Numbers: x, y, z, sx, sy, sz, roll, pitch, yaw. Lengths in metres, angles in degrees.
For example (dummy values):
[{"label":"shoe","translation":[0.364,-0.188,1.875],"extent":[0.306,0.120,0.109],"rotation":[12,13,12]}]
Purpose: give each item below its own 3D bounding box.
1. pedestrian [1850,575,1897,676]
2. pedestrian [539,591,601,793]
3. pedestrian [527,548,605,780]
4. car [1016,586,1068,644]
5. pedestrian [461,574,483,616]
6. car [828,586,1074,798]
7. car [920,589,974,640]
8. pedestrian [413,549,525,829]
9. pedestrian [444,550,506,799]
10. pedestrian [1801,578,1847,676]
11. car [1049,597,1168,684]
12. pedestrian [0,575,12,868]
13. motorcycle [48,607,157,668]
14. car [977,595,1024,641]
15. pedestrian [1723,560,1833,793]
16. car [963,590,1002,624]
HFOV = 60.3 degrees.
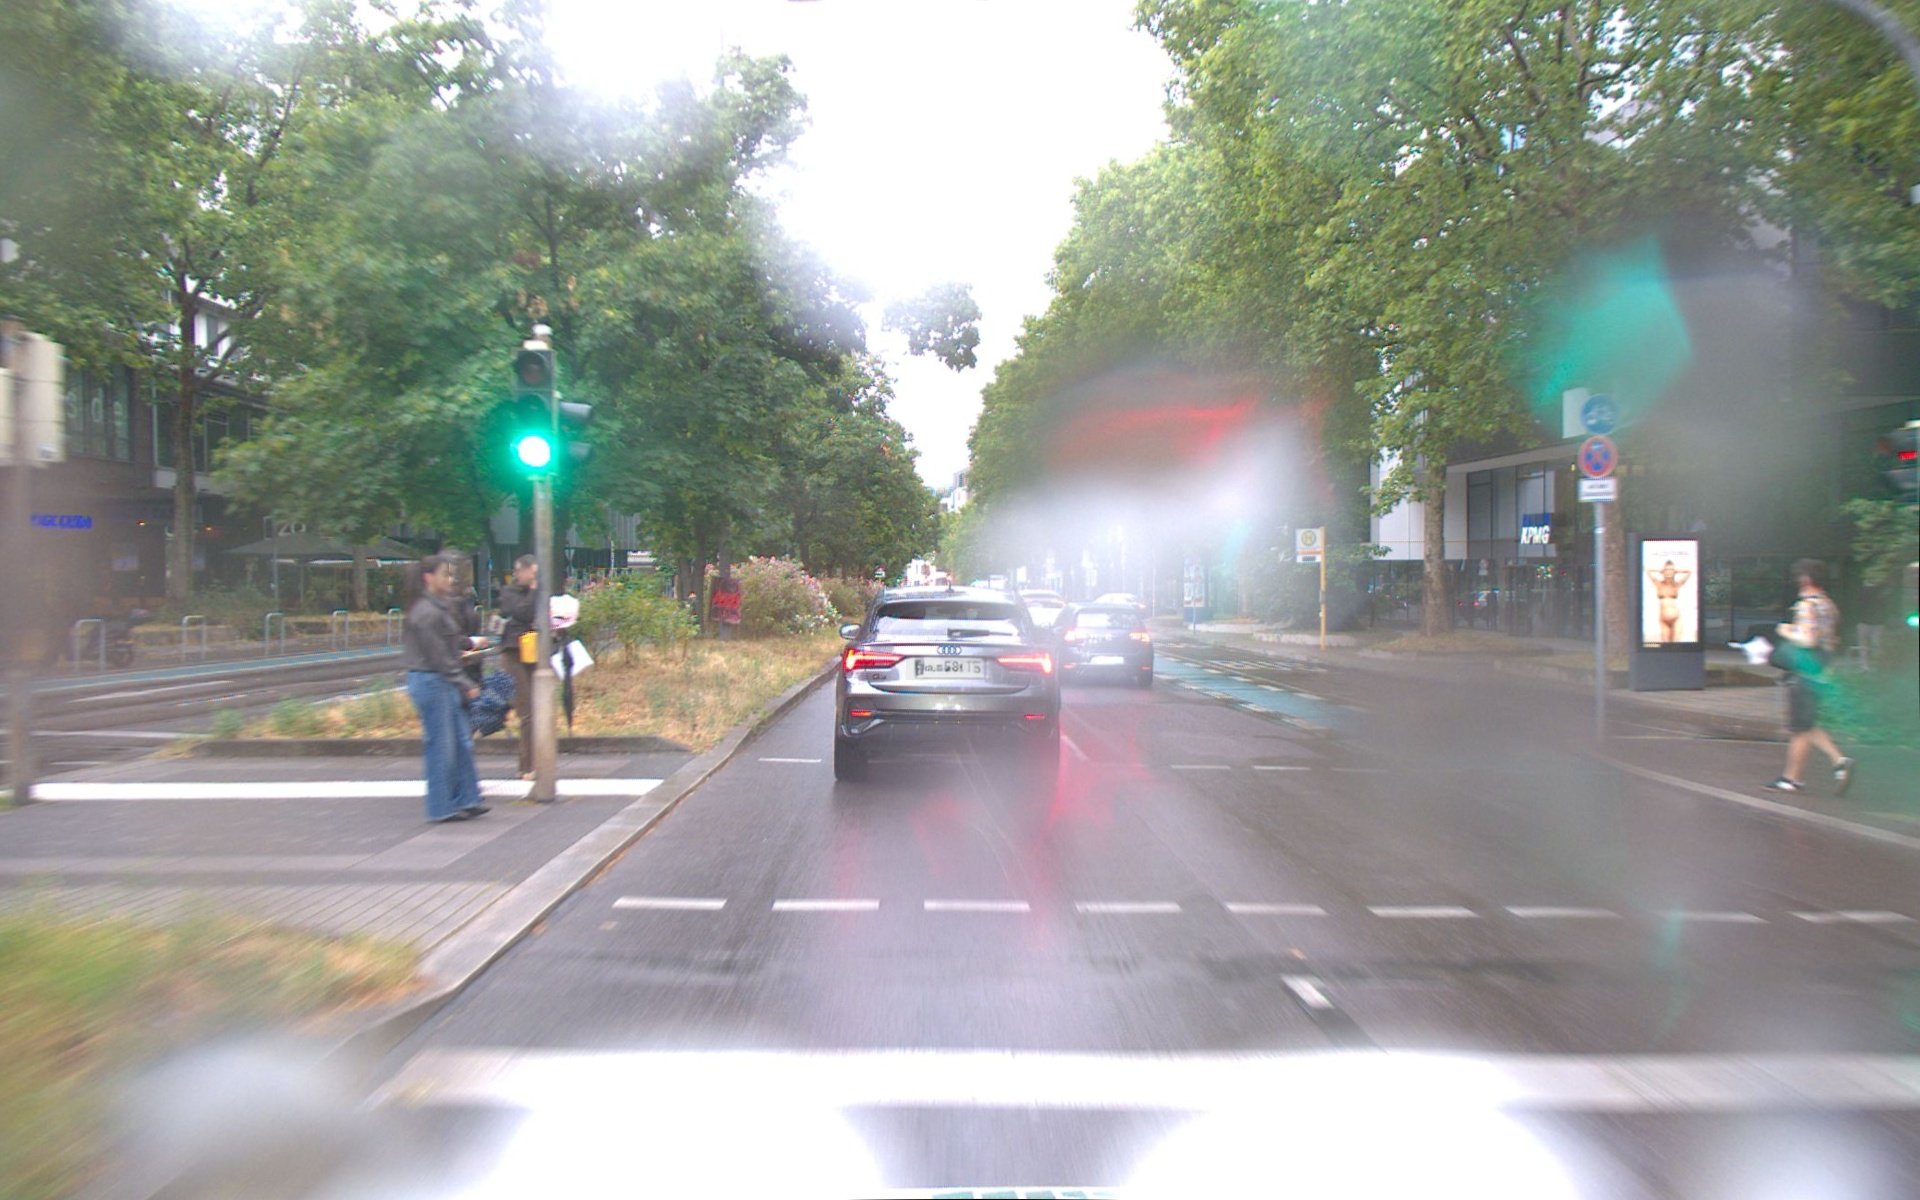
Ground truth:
[{"label":"pedestrian","translation":[17.336,0.474,31.401],"extent":[0.551,1.887,0.607],"rotation":[0,0,-4]},{"label":"pedestrian","translation":[-2.922,0.672,12.374],"extent":[0.416,1.476,0.383],"rotation":[0,0,-20]},{"label":"pedestrian","translation":[-3.002,0.477,12.621],"extent":[0.563,1.728,0.403],"rotation":[0,0,-13]},{"label":"car","translation":[2.512,0.448,51.061],"extent":[1.404,1.714,2.978],"rotation":[-1,1,-1]},{"label":"pedestrian","translation":[-24.057,-0.249,81.531],"extent":[0.862,2.049,0.635],"rotation":[0,0,-2]},{"label":"car","translation":[-0.060,0.668,14.565],"extent":[1.825,1.559,4.527],"rotation":[0,1,0]},{"label":"car","translation":[-0.453,0.437,54.182],"extent":[1.687,1.605,3.961],"rotation":[0,1,-1]},{"label":"pedestrian","translation":[-3.050,0.530,10.263],"extent":[0.603,1.670,0.601],"rotation":[0,0,-24]},{"label":"pedestrian","translation":[-3.454,0.520,11.795],"extent":[0.392,1.750,0.324],"rotation":[0,0,-11]},{"label":"pedestrian","translation":[16.369,0.504,31.343],"extent":[0.551,1.825,0.607],"rotation":[0,0,-4]},{"label":"car","translation":[2.676,0.690,30.520],"extent":[1.729,1.437,3.999],"rotation":[-1,1,-2]},{"label":"pedestrian","translation":[-5.257,0.630,8.447],"extent":[0.472,1.515,0.544],"rotation":[0,0,17]},{"label":"motorcycle","translation":[-15.779,0.687,30.441],"extent":[1.756,1.103,0.491],"rotation":[1,0,-31]},{"label":"car","translation":[1.617,0.718,67.271],"extent":[1.785,1.780,3.999],"rotation":[0,1,-1]},{"label":"pedestrian","translation":[6.703,0.608,13.564],"extent":[0.595,1.863,0.563],"rotation":[0,0,-11]},{"label":"car","translation":[1.183,0.356,89.141],"extent":[1.953,1.780,3.999],"rotation":[0,1,-1]}]
